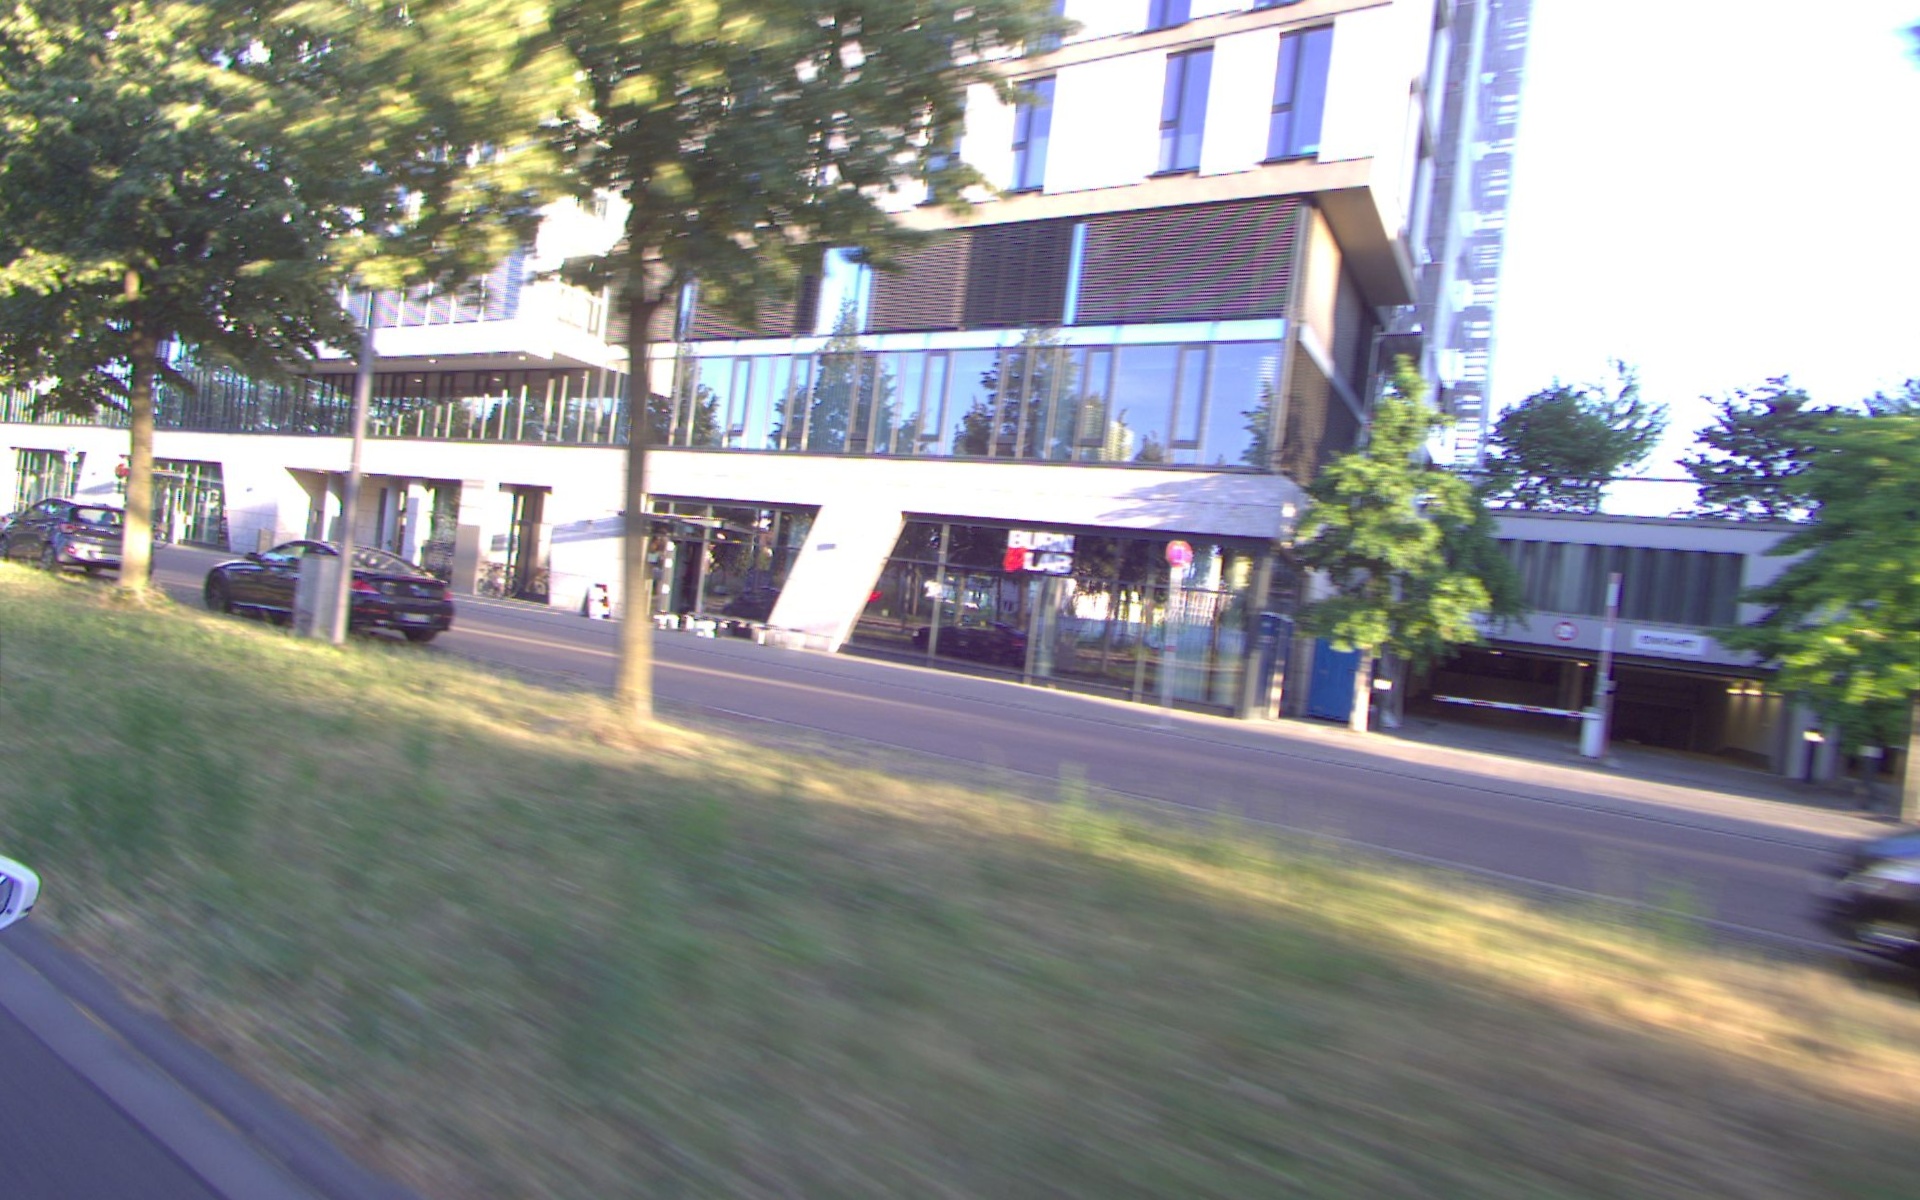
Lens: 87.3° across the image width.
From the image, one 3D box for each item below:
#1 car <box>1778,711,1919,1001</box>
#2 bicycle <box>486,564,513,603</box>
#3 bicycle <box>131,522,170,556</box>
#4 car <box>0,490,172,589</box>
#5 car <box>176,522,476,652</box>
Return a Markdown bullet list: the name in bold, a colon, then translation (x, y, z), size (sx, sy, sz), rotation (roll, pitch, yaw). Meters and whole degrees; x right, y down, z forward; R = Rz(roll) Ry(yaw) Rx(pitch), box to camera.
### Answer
- **car**: translation (7.079, 1.679, 5.299), size (3.933, 1.510, 1.785), rotation (7, -3, 31)
- **bicycle**: translation (-13.501, -0.482, 29.480), size (0.450, 1.040, 1.382), rotation (6, 0, -32)
- **bicycle**: translation (-29.141, -2.212, 36.197), size (1.777, 1.052, 0.471), rotation (7, 1, 32)
- **car**: translation (-18.216, -1.262, 20.746), size (3.695, 1.532, 1.714), rotation (7, -2, 30)
- **car**: translation (-10.000, -0.225, 15.786), size (4.751, 1.383, 1.856), rotation (7, -1, 29)
